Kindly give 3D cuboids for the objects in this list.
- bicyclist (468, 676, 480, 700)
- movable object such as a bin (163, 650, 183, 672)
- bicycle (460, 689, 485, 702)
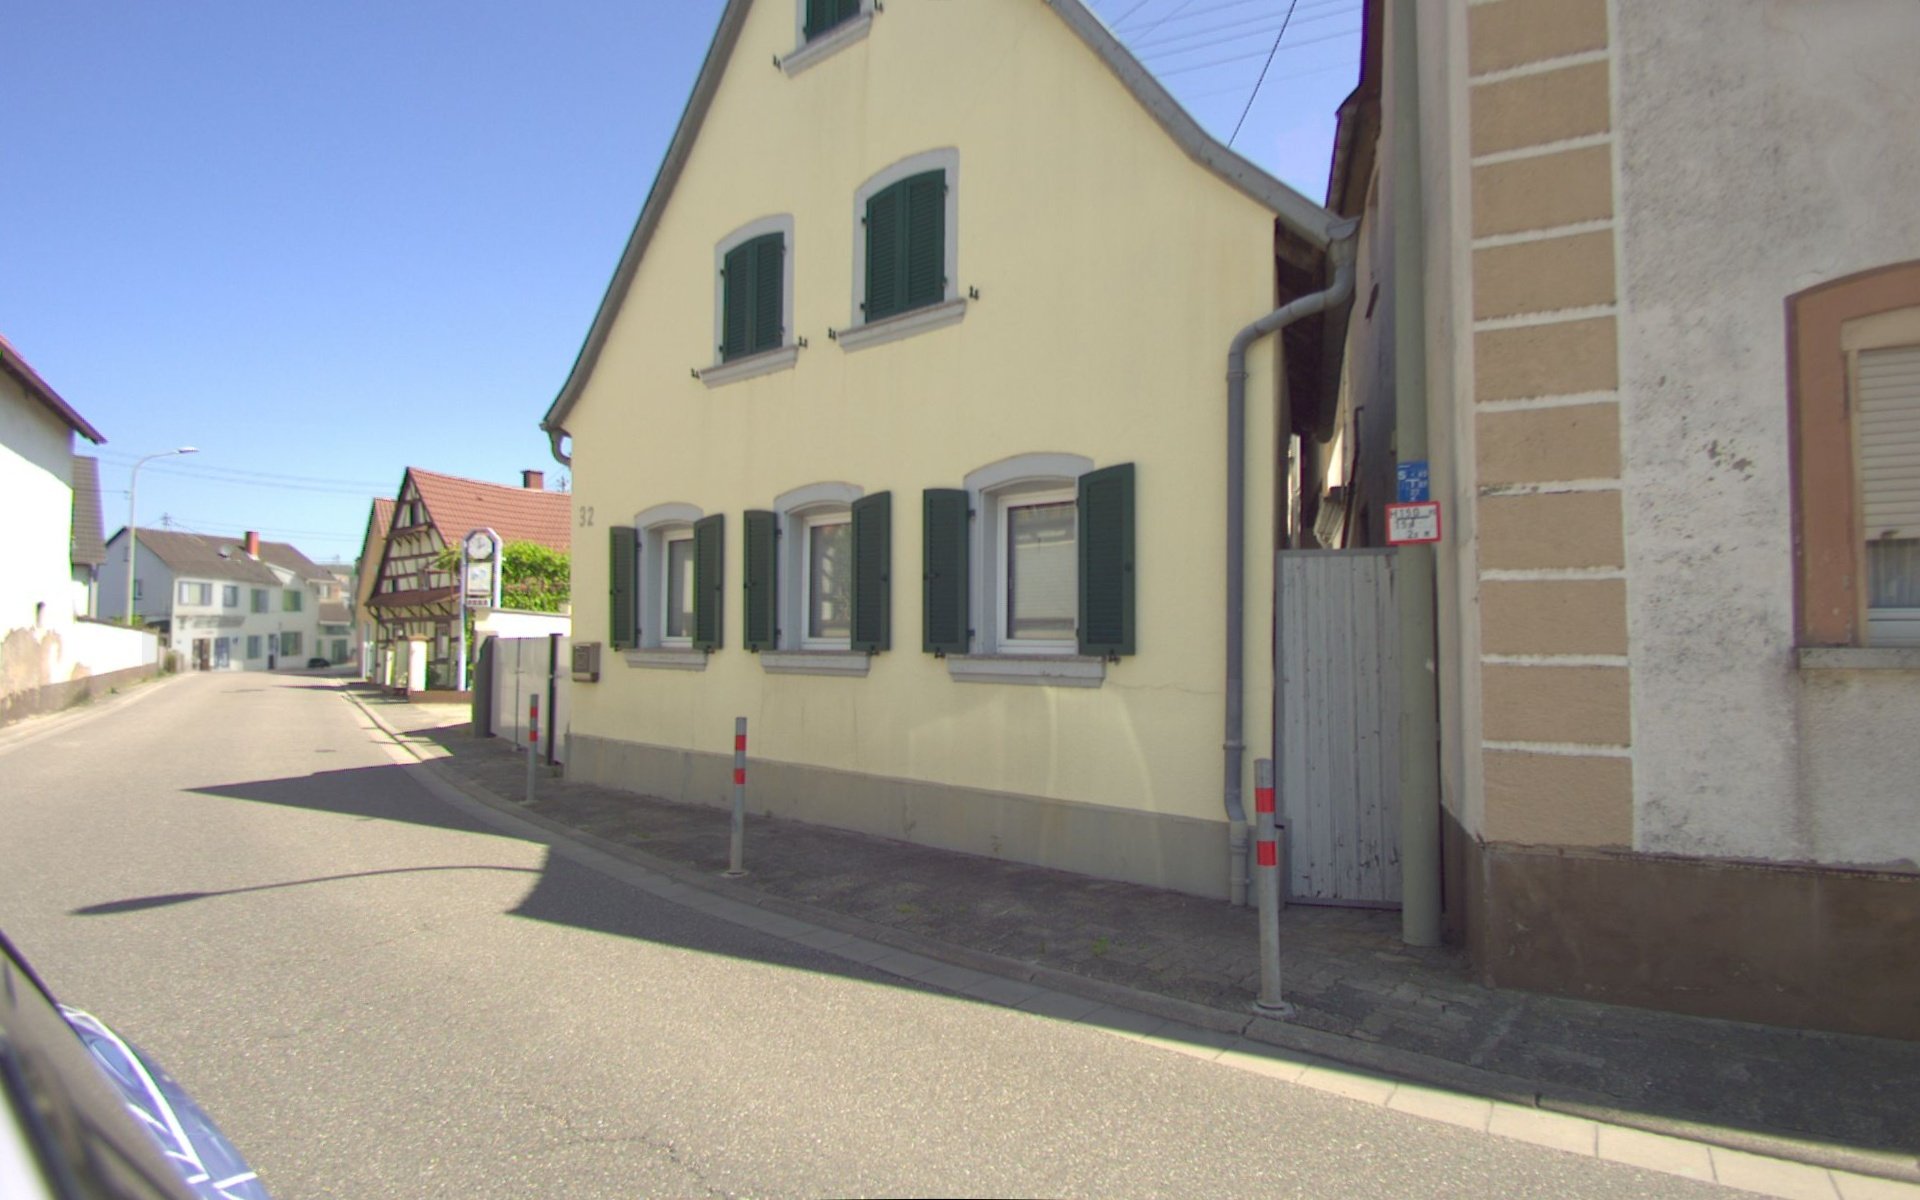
[{"bbox_3d":[-12.212,2.202,25.421,0.242,0.587,0.219,1,-3,-18],"label":"bicyclist"},{"bbox_3d":[-34.856,2.697,44.832,0.431,0.984,0.546,-2,-4,31],"label":"movable object such as a bin"},{"bbox_3d":[-12.233,2.401,25.404,0.526,0.307,0.220,2,-3,-18],"label":"bicycle"}]
